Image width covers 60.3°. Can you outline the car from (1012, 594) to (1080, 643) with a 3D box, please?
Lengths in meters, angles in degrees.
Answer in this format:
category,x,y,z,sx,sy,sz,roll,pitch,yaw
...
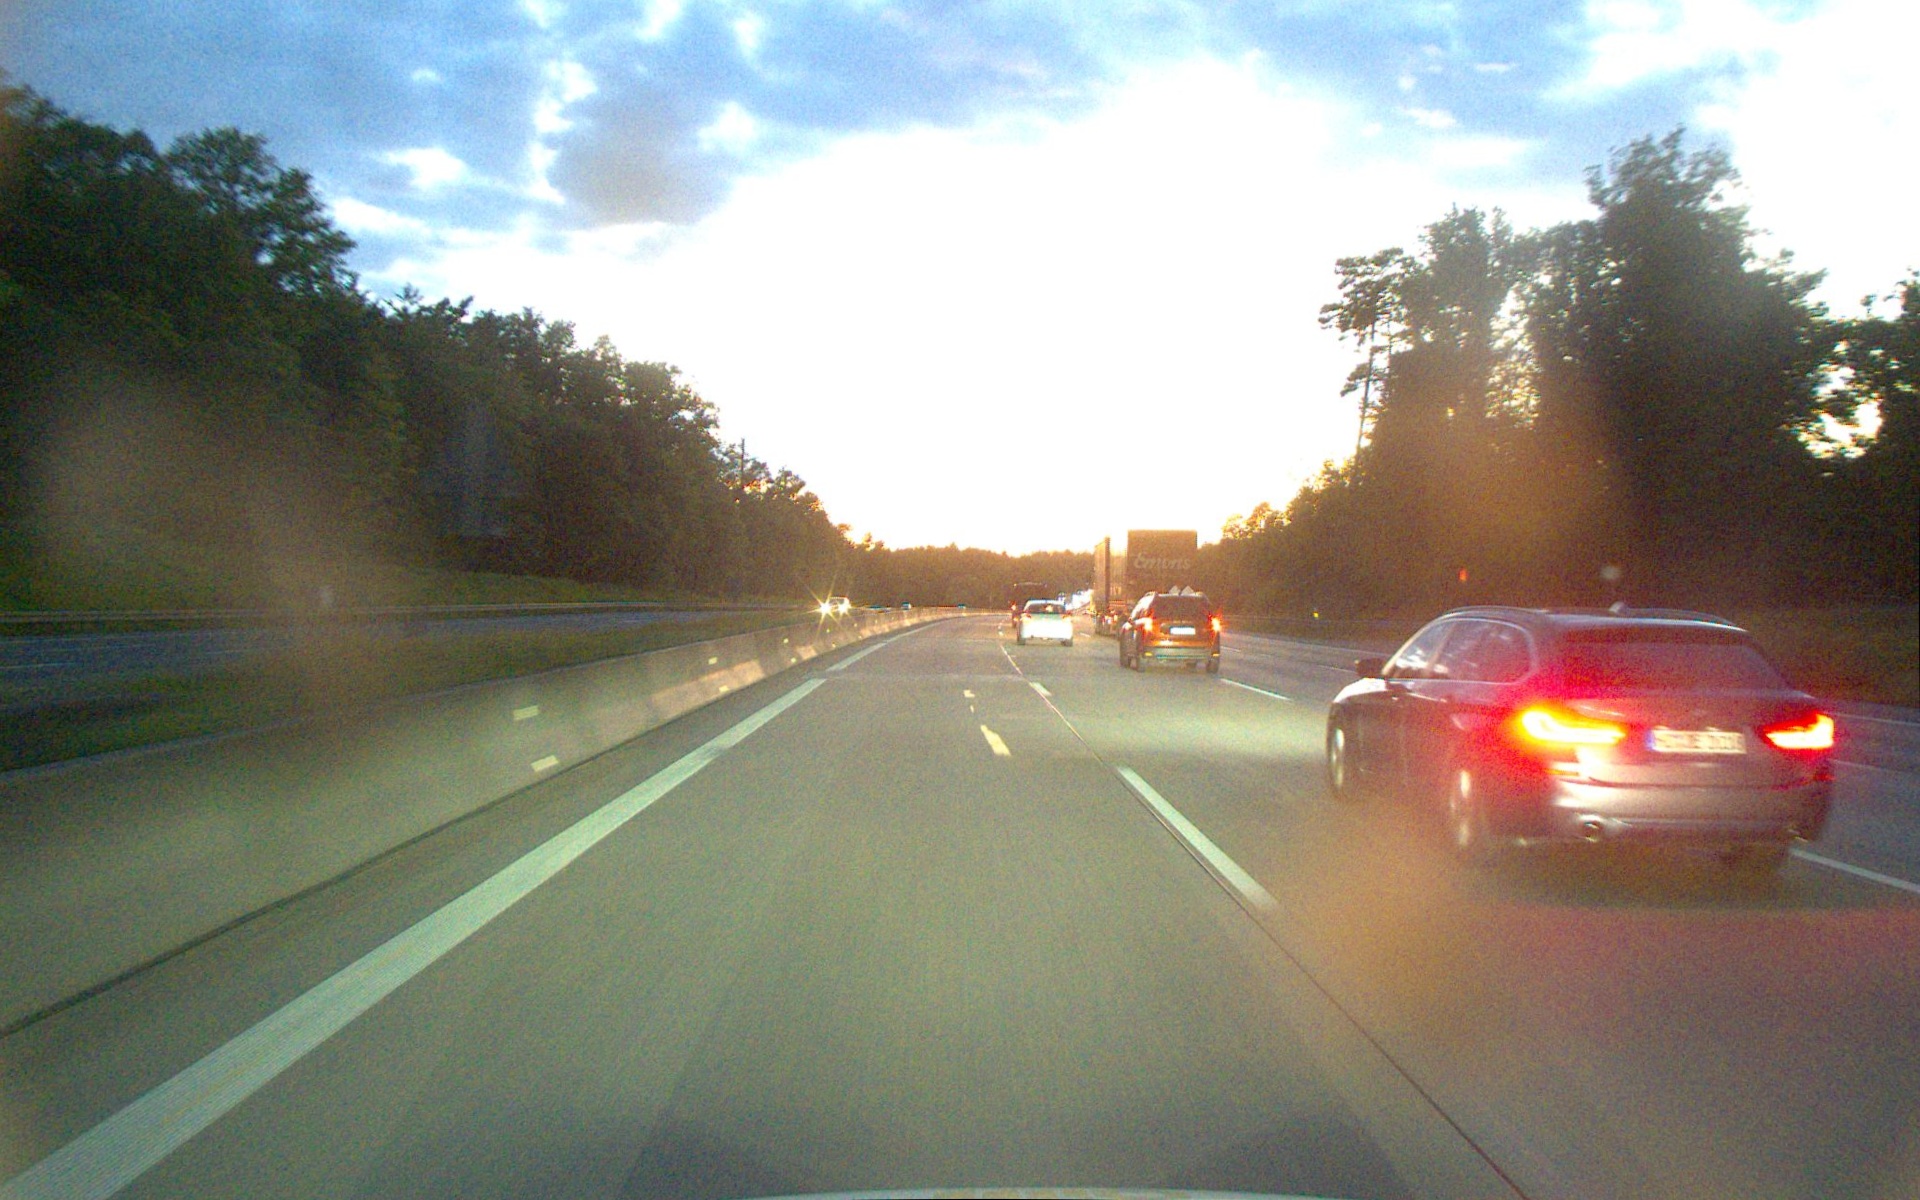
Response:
category,x,y,z,sx,sy,sz,roll,pitch,yaw
car,2.783,0.567,54.219,1.822,1.467,3.718,0,1,-4

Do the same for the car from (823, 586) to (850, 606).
category,x,y,z,sx,sy,sz,roll,pitch,yaw
car,-9.028,-0.283,121.069,1.585,1.430,4.316,0,0,1

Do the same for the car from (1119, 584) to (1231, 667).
category,x,y,z,sx,sy,sz,roll,pitch,yaw
car,4.630,0.509,36.222,1.864,1.672,5.053,0,0,1

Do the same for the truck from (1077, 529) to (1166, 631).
category,x,y,z,sx,sy,sz,roll,pitch,yaw
truck,7.059,-0.790,73.650,2.826,4.172,10.830,1,0,0

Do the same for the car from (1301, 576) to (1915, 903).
category,x,y,z,sx,sy,sz,roll,pitch,yaw
car,3.773,0.660,10.858,1.870,1.564,5.230,0,1,-1

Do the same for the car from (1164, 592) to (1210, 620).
category,x,y,z,sx,sy,sz,roll,pitch,yaw
car,11.937,0.311,87.023,1.821,1.467,4.111,0,0,-1

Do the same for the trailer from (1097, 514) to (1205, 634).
category,x,y,z,sx,sy,sz,roll,pitch,yaw
trailer,7.114,-0.874,63.090,2.848,4.172,10.356,1,-1,0

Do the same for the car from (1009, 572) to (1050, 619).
category,x,y,z,sx,sy,sz,roll,pitch,yaw
car,3.790,-0.220,89.440,2.120,2.461,5.566,0,-1,3
